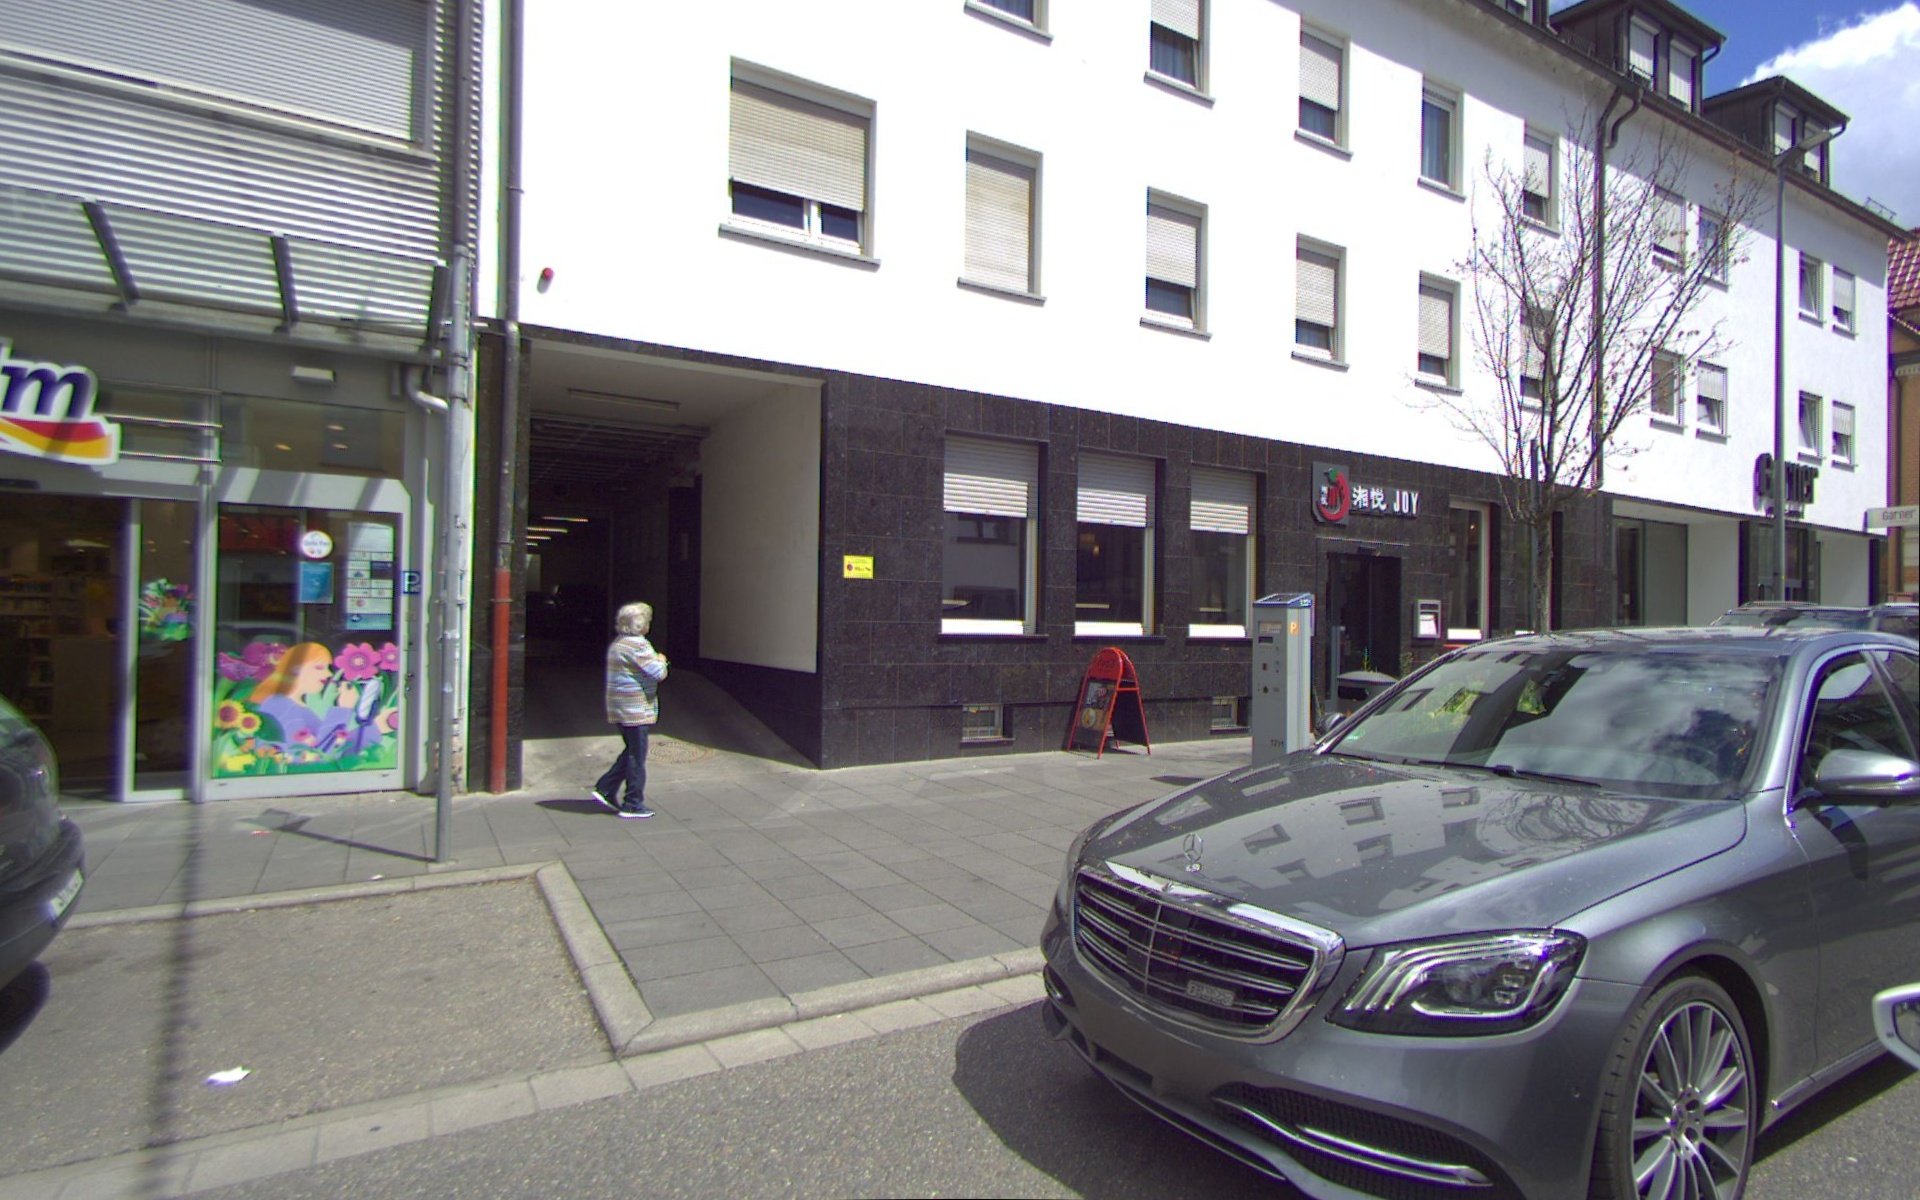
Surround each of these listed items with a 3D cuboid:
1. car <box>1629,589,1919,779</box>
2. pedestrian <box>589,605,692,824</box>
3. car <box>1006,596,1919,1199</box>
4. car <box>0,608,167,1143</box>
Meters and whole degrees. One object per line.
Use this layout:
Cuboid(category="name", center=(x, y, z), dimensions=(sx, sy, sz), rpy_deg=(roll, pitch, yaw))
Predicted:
Cuboid(category="car", center=(9.837, 0.856, 11.318), dimensions=(4.610, 1.778, 1.809), rpy_deg=(2, 0, -28))
Cuboid(category="pedestrian", center=(-2.314, 0.790, 7.248), dimensions=(0.556, 1.474, 0.651), rpy_deg=(2, 0, -29))
Cuboid(category="car", center=(2.608, 0.794, 3.864), dimensions=(4.590, 1.584, 1.896), rpy_deg=(0, 1, -30))
Cuboid(category="car", center=(-4.878, 0.770, 2.668), dimensions=(4.133, 1.523, 1.780), rpy_deg=(2, 0, -33))
